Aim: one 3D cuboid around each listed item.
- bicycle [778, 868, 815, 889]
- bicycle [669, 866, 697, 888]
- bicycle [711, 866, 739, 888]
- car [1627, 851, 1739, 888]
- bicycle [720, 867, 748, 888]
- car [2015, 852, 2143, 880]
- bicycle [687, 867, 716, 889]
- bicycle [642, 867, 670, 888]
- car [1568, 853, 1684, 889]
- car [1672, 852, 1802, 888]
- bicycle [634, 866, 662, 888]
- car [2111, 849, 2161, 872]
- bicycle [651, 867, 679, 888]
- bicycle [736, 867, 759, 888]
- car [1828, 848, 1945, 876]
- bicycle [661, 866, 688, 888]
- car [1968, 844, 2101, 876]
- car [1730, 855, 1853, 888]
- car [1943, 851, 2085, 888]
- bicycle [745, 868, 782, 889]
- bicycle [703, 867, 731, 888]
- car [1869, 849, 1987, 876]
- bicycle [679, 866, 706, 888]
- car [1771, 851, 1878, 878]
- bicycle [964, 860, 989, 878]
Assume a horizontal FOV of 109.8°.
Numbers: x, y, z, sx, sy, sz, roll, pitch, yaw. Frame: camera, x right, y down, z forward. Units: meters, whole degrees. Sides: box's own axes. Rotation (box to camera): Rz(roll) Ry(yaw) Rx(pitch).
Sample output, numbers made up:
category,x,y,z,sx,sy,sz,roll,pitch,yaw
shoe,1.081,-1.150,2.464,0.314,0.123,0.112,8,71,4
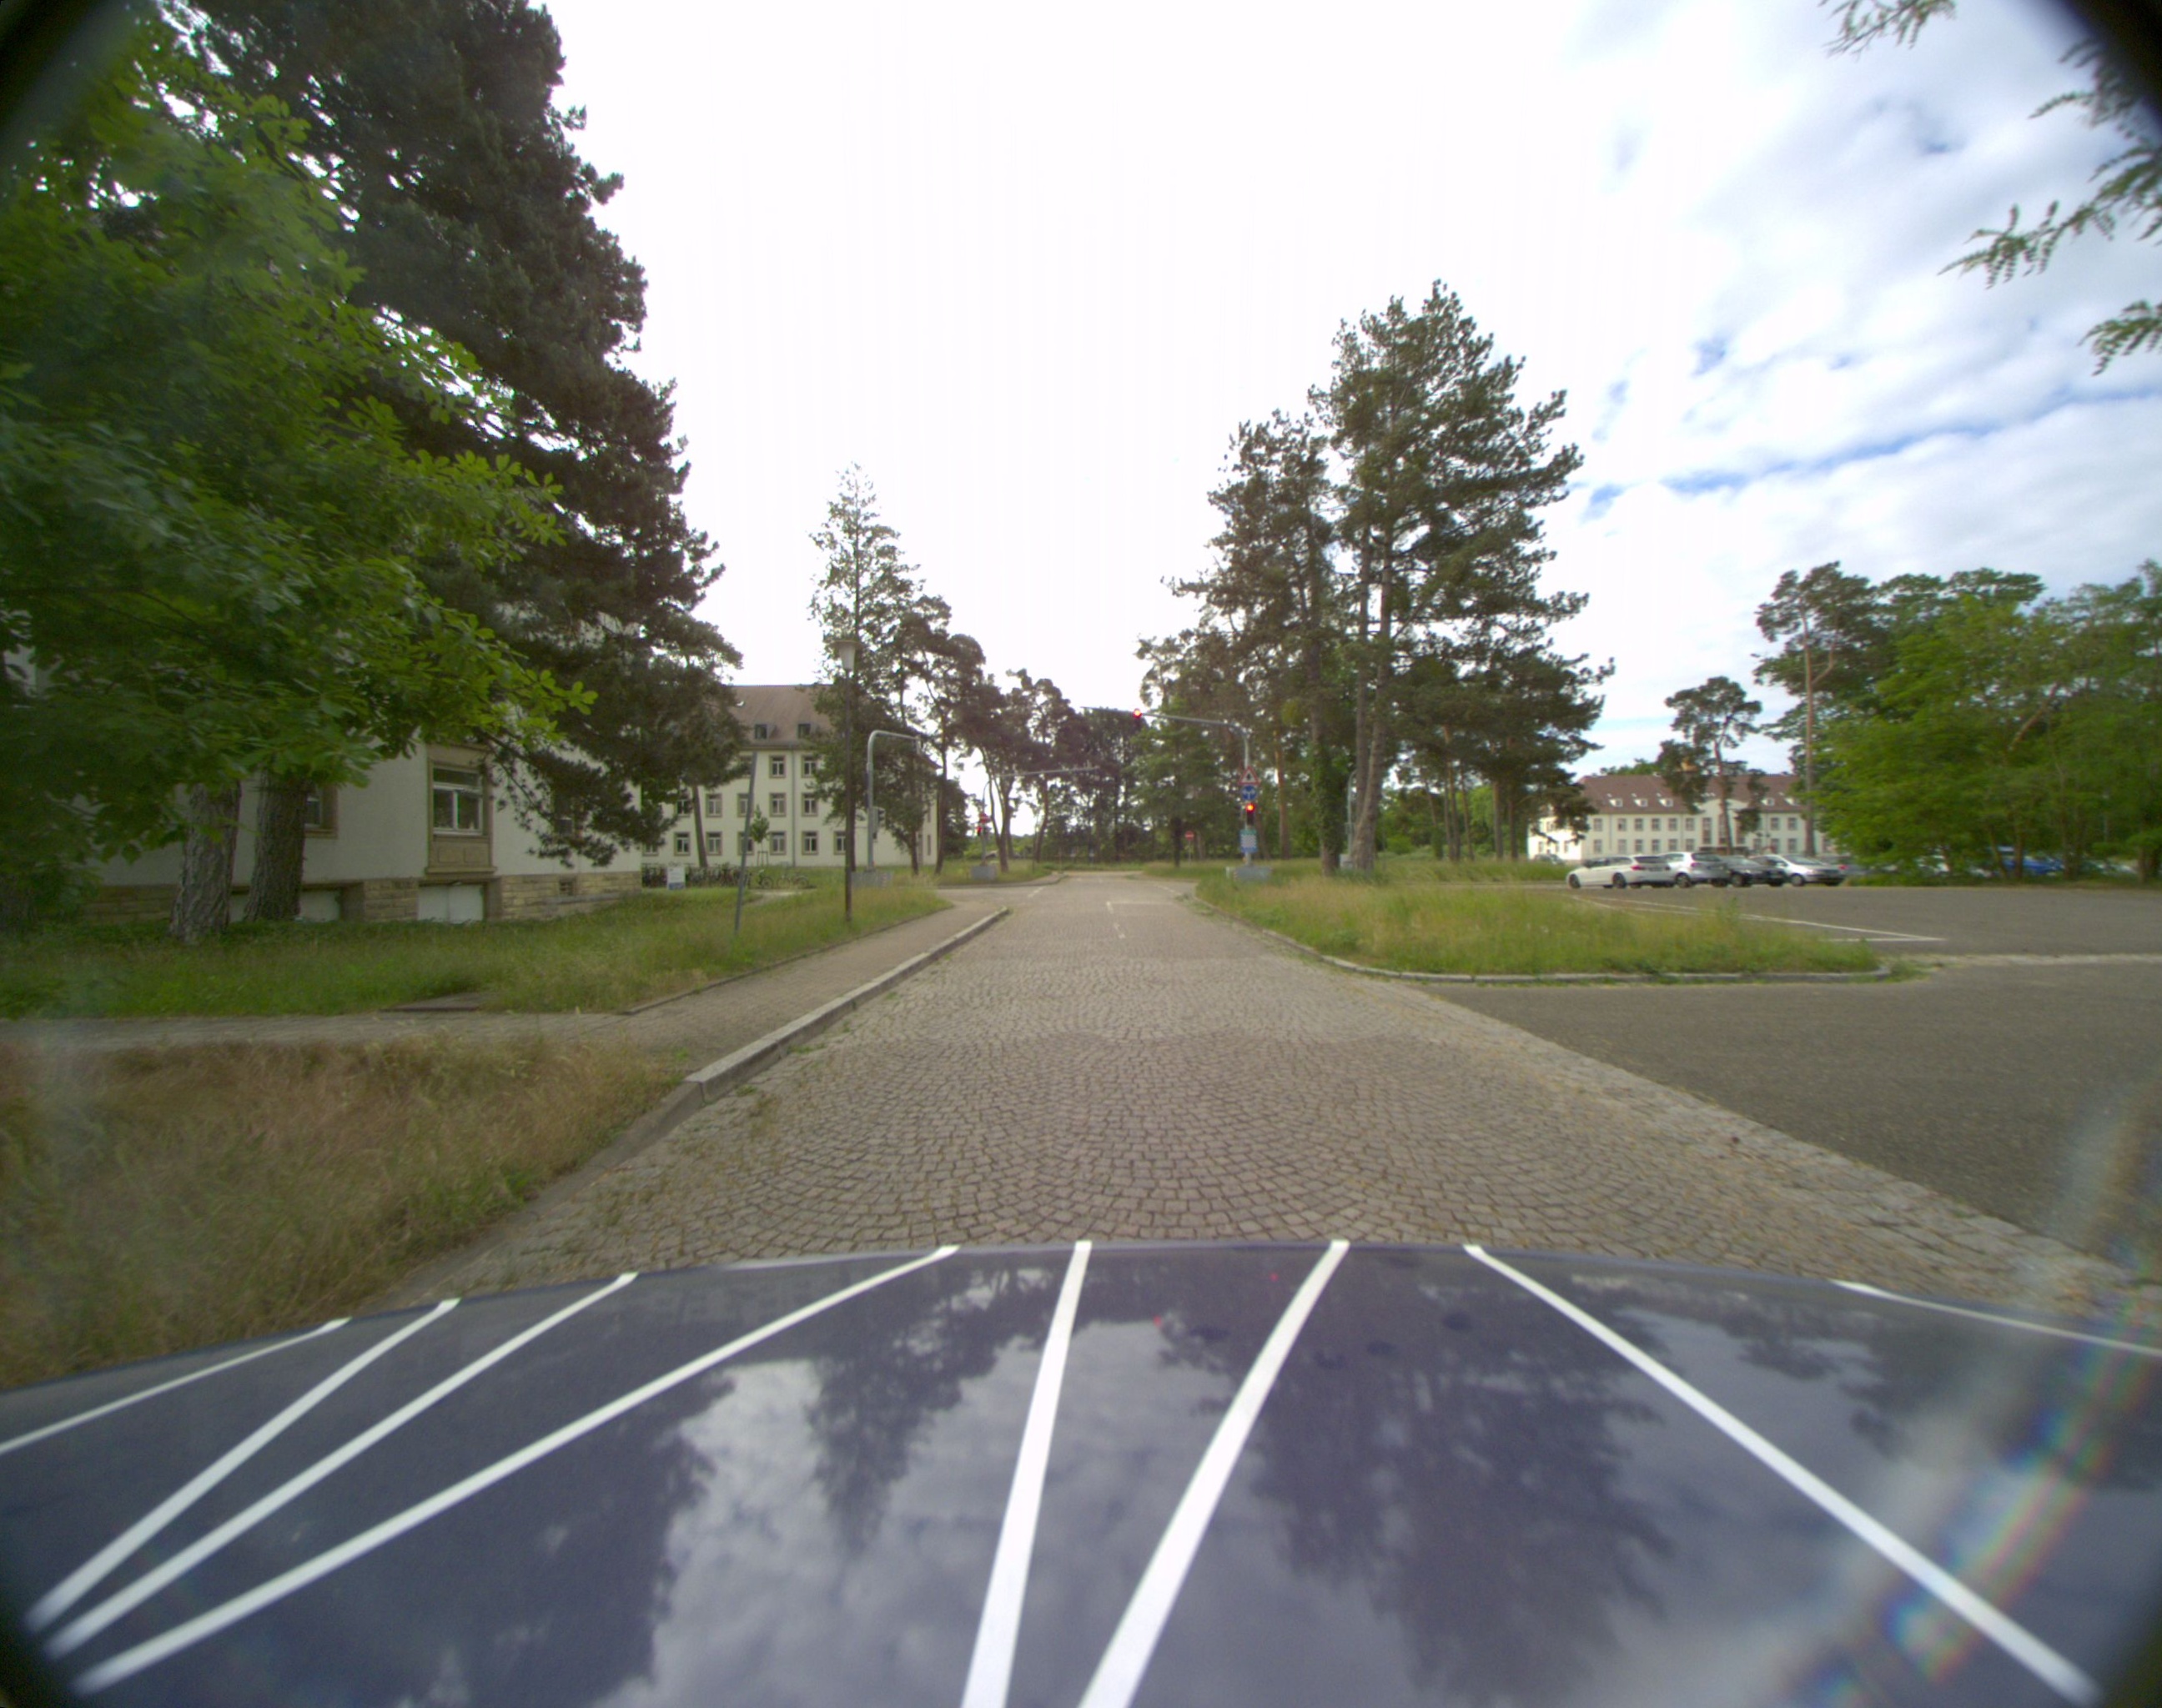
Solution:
category,x,y,z,sx,sy,sz,roll,pitch,yaw
bicycle,-14.881,1.264,39.782,1.656,1.079,0.614,-1,0,-3
bicycle,-21.577,1.248,41.225,0.448,1.121,1.731,-1,0,4
bicycle,-19.249,1.251,41.115,0.447,1.121,1.703,0,0,9
car,25.925,0.691,32.900,1.674,1.510,3.899,-1,-2,-2
bicycle,-18.756,1.258,41.085,0.476,1.121,1.704,0,0,9
car,56.877,0.655,43.436,1.829,1.466,4.189,-1,0,0
bicycle,-20.518,1.303,41.147,0.447,1.121,1.732,0,0,9
bicycle,-23.085,1.262,41.318,0.448,1.121,1.731,-1,0,4
car,23.402,0.695,32.878,1.829,1.417,4.319,-1,0,-2
car,28.555,0.665,33.283,1.829,1.466,4.401,-1,0,-2
bicycle,-23.565,1.241,41.356,0.448,1.121,1.731,-1,0,4
car,63.228,0.373,43.798,1.710,1.343,4.402,-1,0,0
bicycle,-22.598,1.268,41.273,0.448,1.121,1.731,-1,0,4
bicycle,-18.129,1.264,41.312,0.476,1.121,1.657,-1,0,0
car,46.126,0.447,43.667,1.830,1.466,4.401,-3,0,-4
bicycle,-22.059,1.246,41.261,0.448,1.121,1.731,-1,0,4
car,54.324,0.336,43.448,1.829,1.712,4.582,-1,0,0
car,31.380,0.729,33.739,1.637,1.391,4.037,-1,0,-2
car,40.279,0.632,32.932,1.679,1.466,3.592,-1,0,-2
bicycle,-16.582,1.271,39.658,1.655,1.079,0.615,-1,0,3
bicycle,-19.725,1.270,41.186,0.447,1.121,1.732,0,0,9
car,49.061,0.479,44.157,1.830,1.466,4.401,-1,0,-4
bicycle,-21.067,1.254,41.198,0.448,1.121,1.731,-1,0,4
car,43.229,0.565,44.318,1.829,1.466,4.401,-1,0,-2
bicycle,-6.533,0.939,47.638,0.613,1.079,1.660,0,0,33
